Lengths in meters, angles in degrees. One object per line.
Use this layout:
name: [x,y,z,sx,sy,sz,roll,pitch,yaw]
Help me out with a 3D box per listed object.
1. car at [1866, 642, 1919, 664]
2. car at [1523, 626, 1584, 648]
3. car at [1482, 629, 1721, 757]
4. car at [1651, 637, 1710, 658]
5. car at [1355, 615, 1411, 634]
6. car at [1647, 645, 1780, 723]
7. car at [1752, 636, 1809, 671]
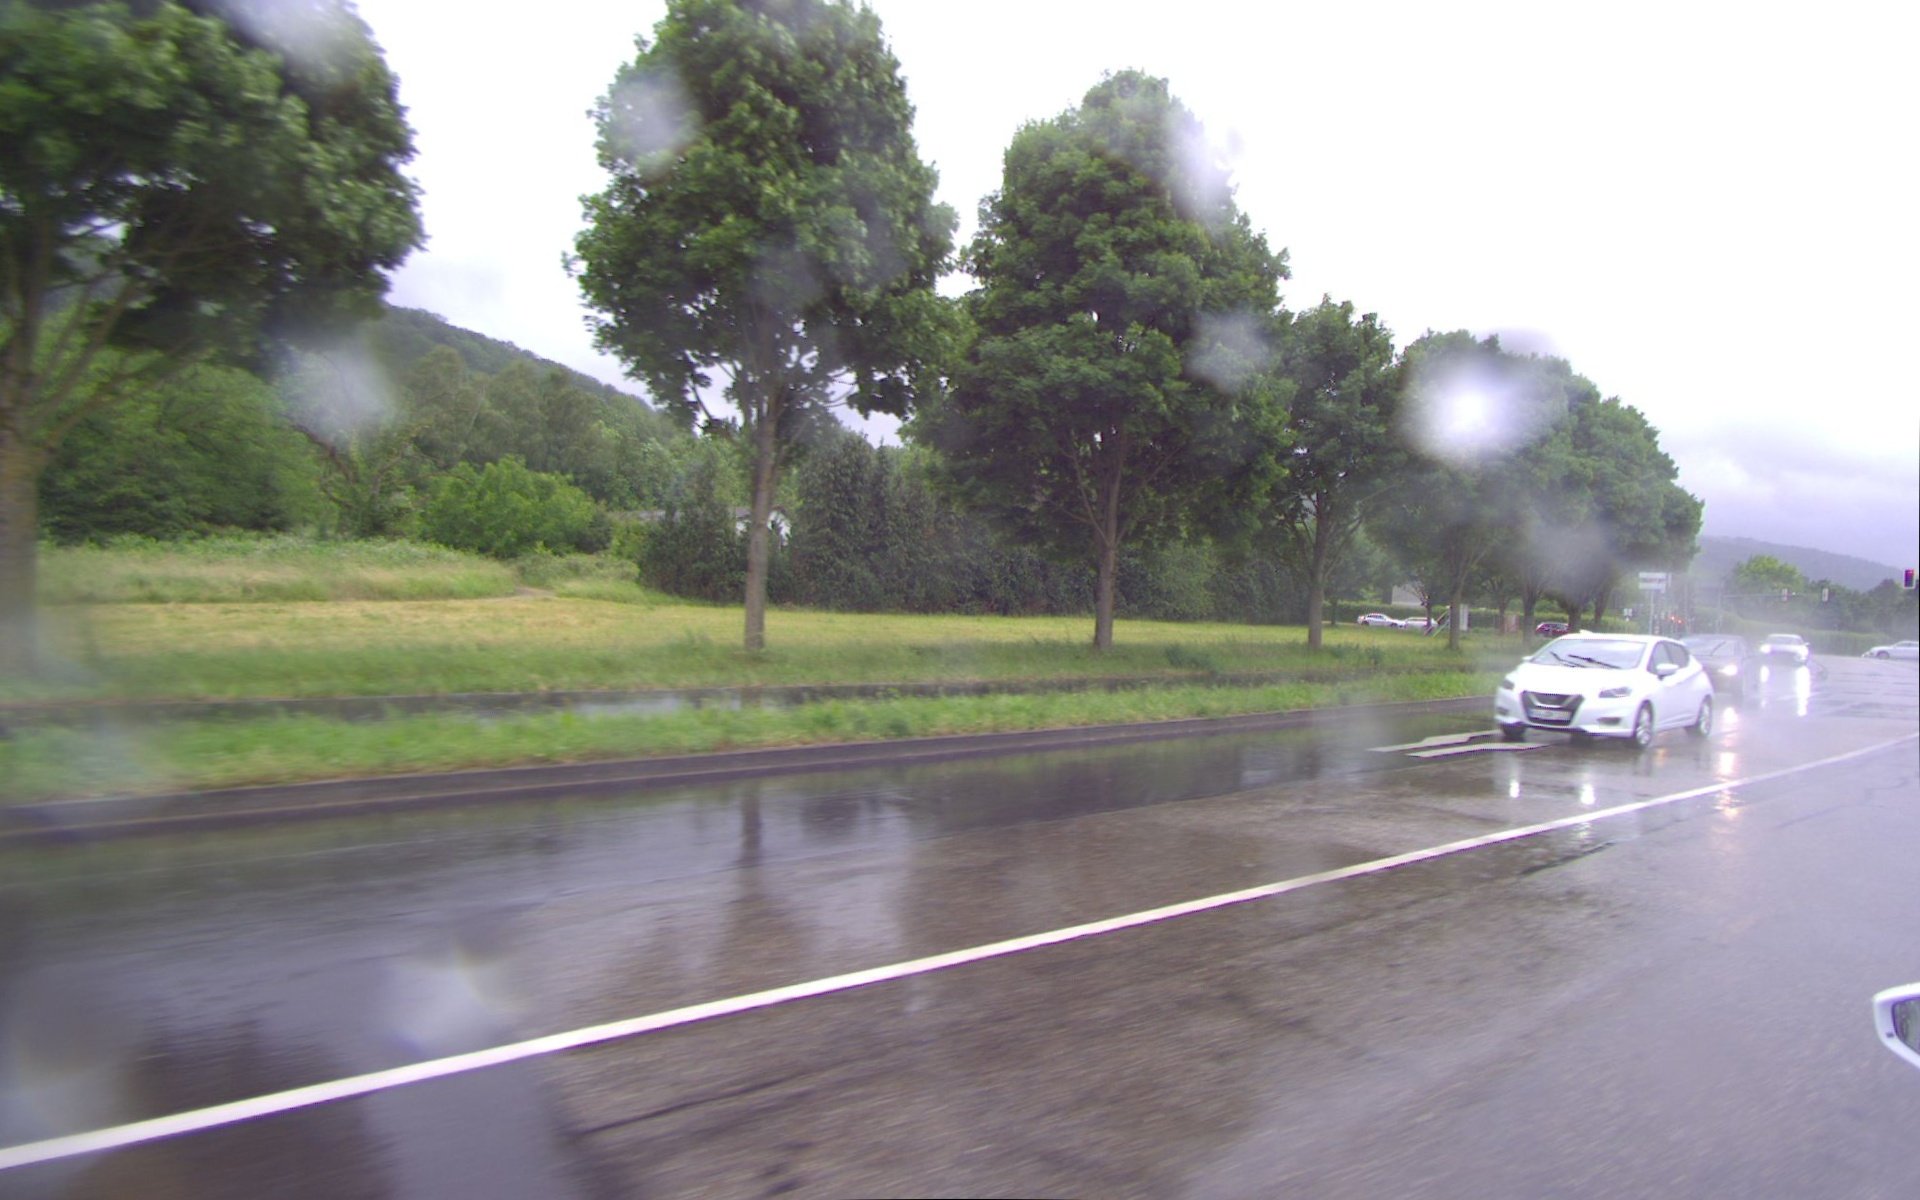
car: [78.945,4.461,84.166,4.329,1.600,1.722,4,1,44]
car: [52.729,3.310,89.322,1.720,1.600,4.334,3,1,-42]
car: [9.129,1.230,14.182,3.978,1.507,1.725,3,-1,-40]
car: [68.031,4.467,94.834,1.720,1.600,4.195,3,1,-42]
car: [42.174,2.468,100.220,4.828,1.574,1.789,3,0,43]
car: [18.892,2.031,25.130,4.089,1.608,1.866,3,2,-43]
car: [40.974,2.677,50.100,1.859,1.594,4.618,1,-2,43]
